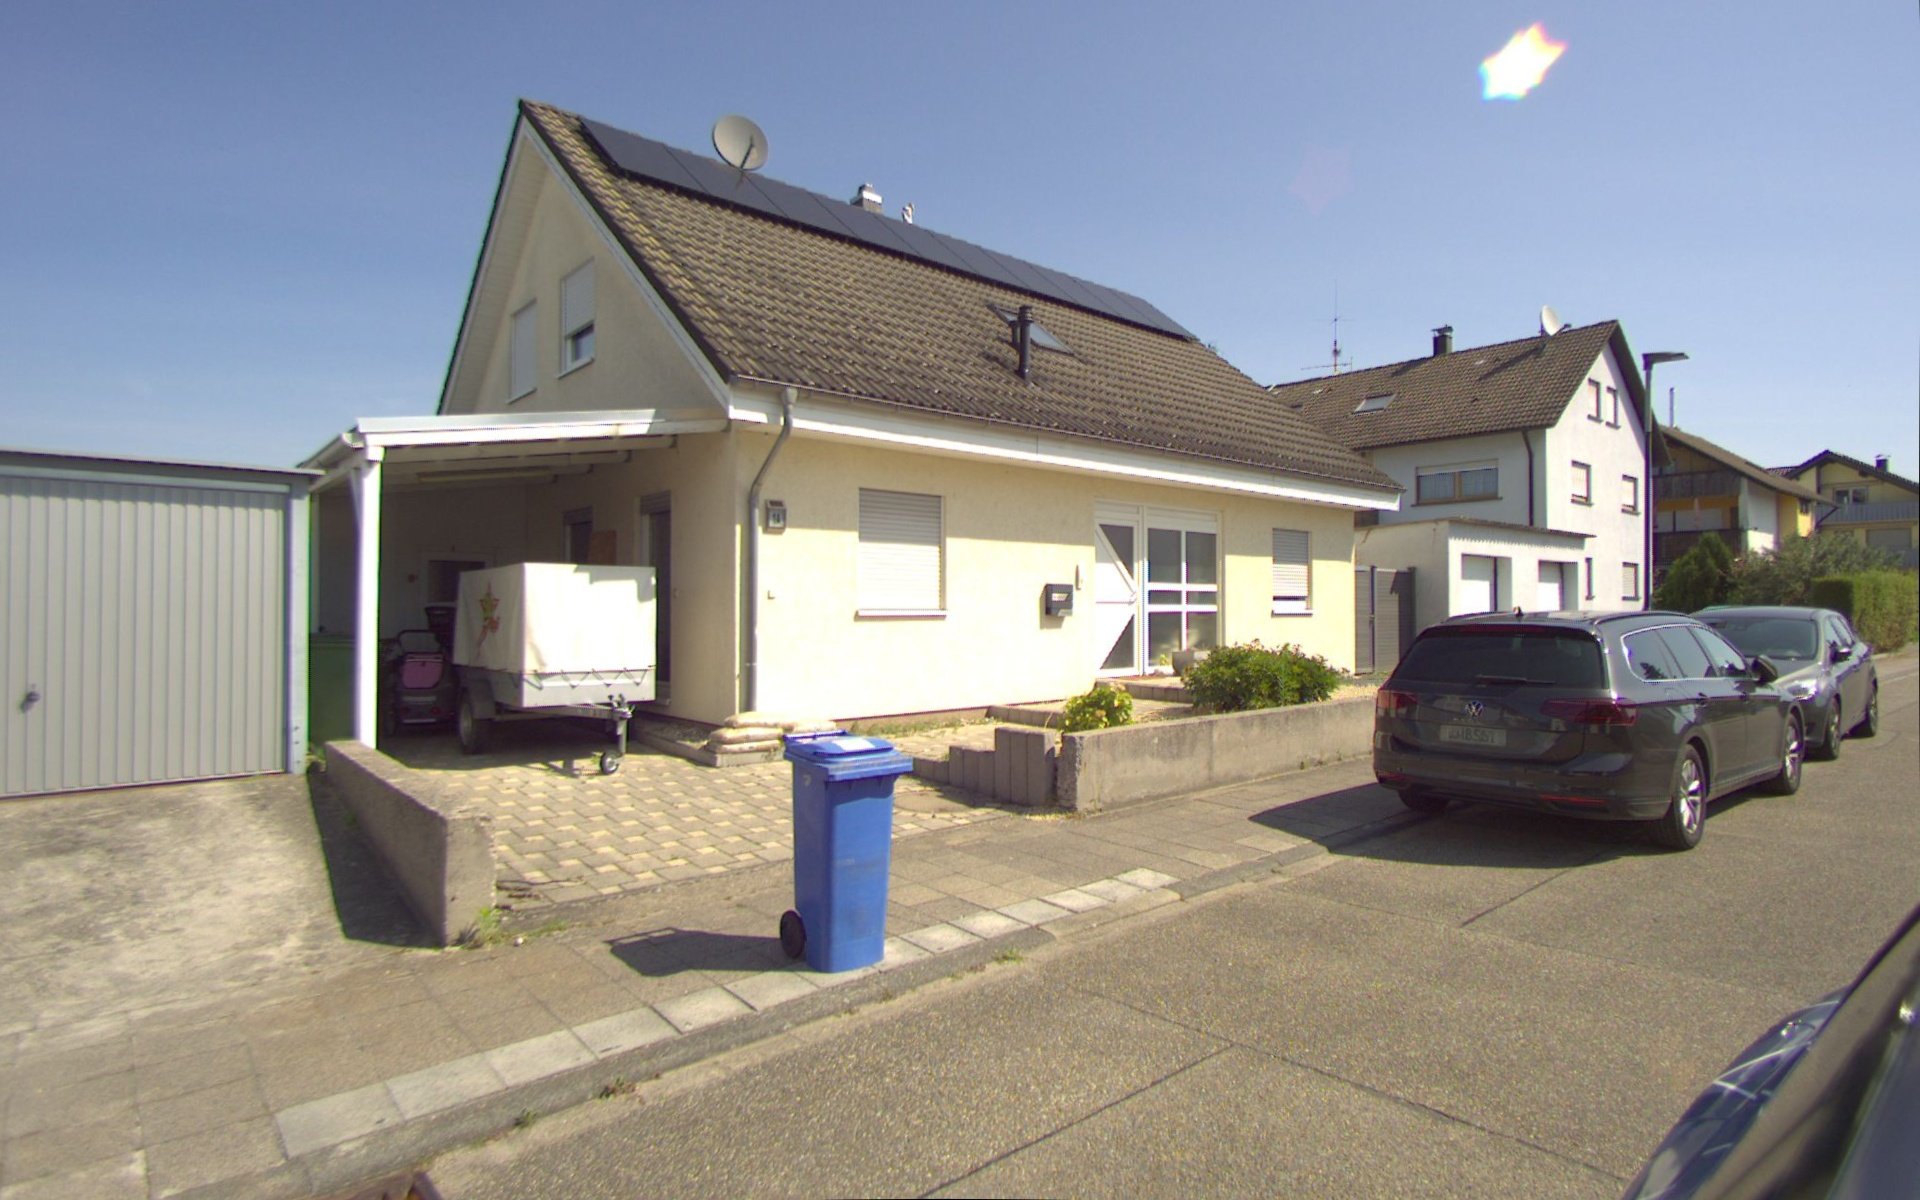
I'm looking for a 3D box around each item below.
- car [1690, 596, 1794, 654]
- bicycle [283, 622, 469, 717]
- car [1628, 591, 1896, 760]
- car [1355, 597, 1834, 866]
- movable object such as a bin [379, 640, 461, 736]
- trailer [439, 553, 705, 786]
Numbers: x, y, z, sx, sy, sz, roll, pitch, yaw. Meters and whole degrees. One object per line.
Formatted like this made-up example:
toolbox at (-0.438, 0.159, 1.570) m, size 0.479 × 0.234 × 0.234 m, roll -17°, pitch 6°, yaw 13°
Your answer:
car at (19.985, 0.588, 25.830) m, size 3.466 × 1.376 × 1.496 m, roll 0°, pitch 0°, yaw -42°
bicycle at (-6.720, 0.770, 11.710) m, size 1.796 × 0.981 × 0.559 m, roll 0°, pitch 0°, yaw -41°
car at (8.973, 0.704, 11.209) m, size 3.932 × 1.497 × 1.644 m, roll -1°, pitch -1°, yaw -42°
car at (4.963, 0.739, 7.646) m, size 4.422 × 1.457 × 1.721 m, roll 0°, pitch -1°, yaw -39°
movable object such as a bin at (-5.426, 0.859, 10.155) m, size 0.625 × 0.875 × 0.835 m, roll 0°, pitch 0°, yaw -35°
trailer at (-3.524, 0.504, 8.973) m, size 1.377 × 1.711 × 2.840 m, roll 0°, pitch 0°, yaw -40°
